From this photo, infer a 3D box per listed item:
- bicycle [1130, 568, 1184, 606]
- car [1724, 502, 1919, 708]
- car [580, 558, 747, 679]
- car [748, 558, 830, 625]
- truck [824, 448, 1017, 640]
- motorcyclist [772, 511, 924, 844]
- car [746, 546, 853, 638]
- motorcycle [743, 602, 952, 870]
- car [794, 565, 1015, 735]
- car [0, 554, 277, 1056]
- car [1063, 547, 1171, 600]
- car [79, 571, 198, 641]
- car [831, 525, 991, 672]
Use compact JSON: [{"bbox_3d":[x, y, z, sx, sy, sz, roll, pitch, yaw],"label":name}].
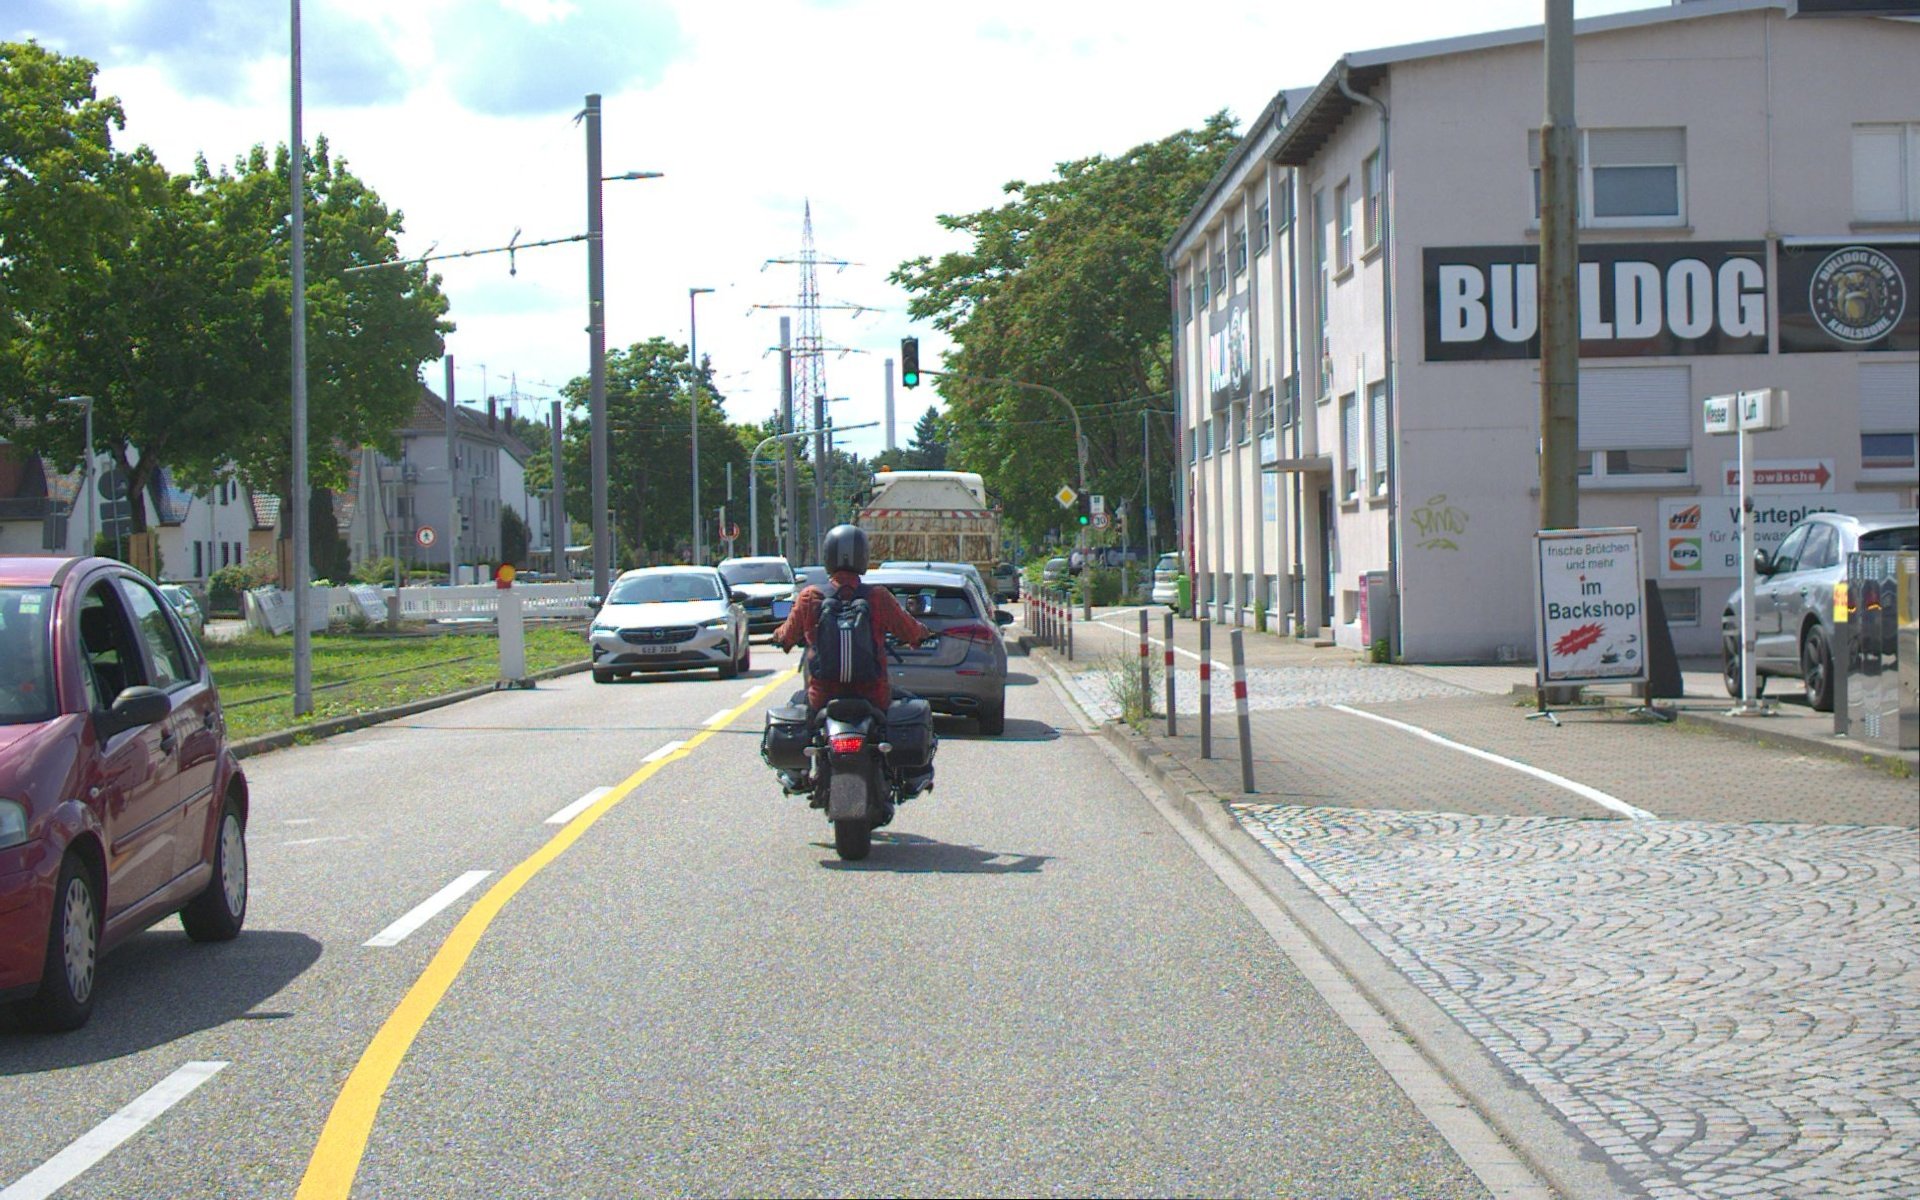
[{"bbox_3d":[6.306,-0.419,109.961,1.708,1.168,0.438,1,0,6],"label":"bicycle"},{"bbox_3d":[7.961,0.022,29.317,1.945,1.619,4.616,0,1,1],"label":"car"},{"bbox_3d":[-3.793,0.223,44.655,1.821,1.440,4.484,-2,0,-1],"label":"car"},{"bbox_3d":[-3.996,-0.193,80.740,1.692,1.408,3.859,-4,0,-1],"label":"car"},{"bbox_3d":[-0.600,-0.943,61.423,2.968,3.162,7.763,1,0,3],"label":"truck"},{"bbox_3d":[-0.544,0.373,16.936,0.698,1.599,0.692,1,0,0],"label":"motorcyclist"},{"bbox_3d":[-3.071,-0.145,66.537,1.824,1.660,4.462,-2,0,0],"label":"car"},{"bbox_3d":[-0.525,0.632,17.207,0.942,1.196,2.472,1,1,0],"label":"motorcycle"},{"bbox_3d":[-0.564,0.403,31.231,1.731,1.399,4.087,1,1,-4],"label":"car"},{"bbox_3d":[-3.534,0.588,11.897,1.578,1.464,3.720,-1,1,0],"label":"car"},{"bbox_3d":[5.920,-1.009,129.495,3.989,1.919,1.802,1,0,-44],"label":"car"},{"bbox_3d":[-16.605,0.119,69.637,1.521,1.349,3.621,1,0,0],"label":"car"},{"bbox_3d":[-0.572,-0.067,43.959,1.901,1.706,4.719,-1,2,1],"label":"car"}]
